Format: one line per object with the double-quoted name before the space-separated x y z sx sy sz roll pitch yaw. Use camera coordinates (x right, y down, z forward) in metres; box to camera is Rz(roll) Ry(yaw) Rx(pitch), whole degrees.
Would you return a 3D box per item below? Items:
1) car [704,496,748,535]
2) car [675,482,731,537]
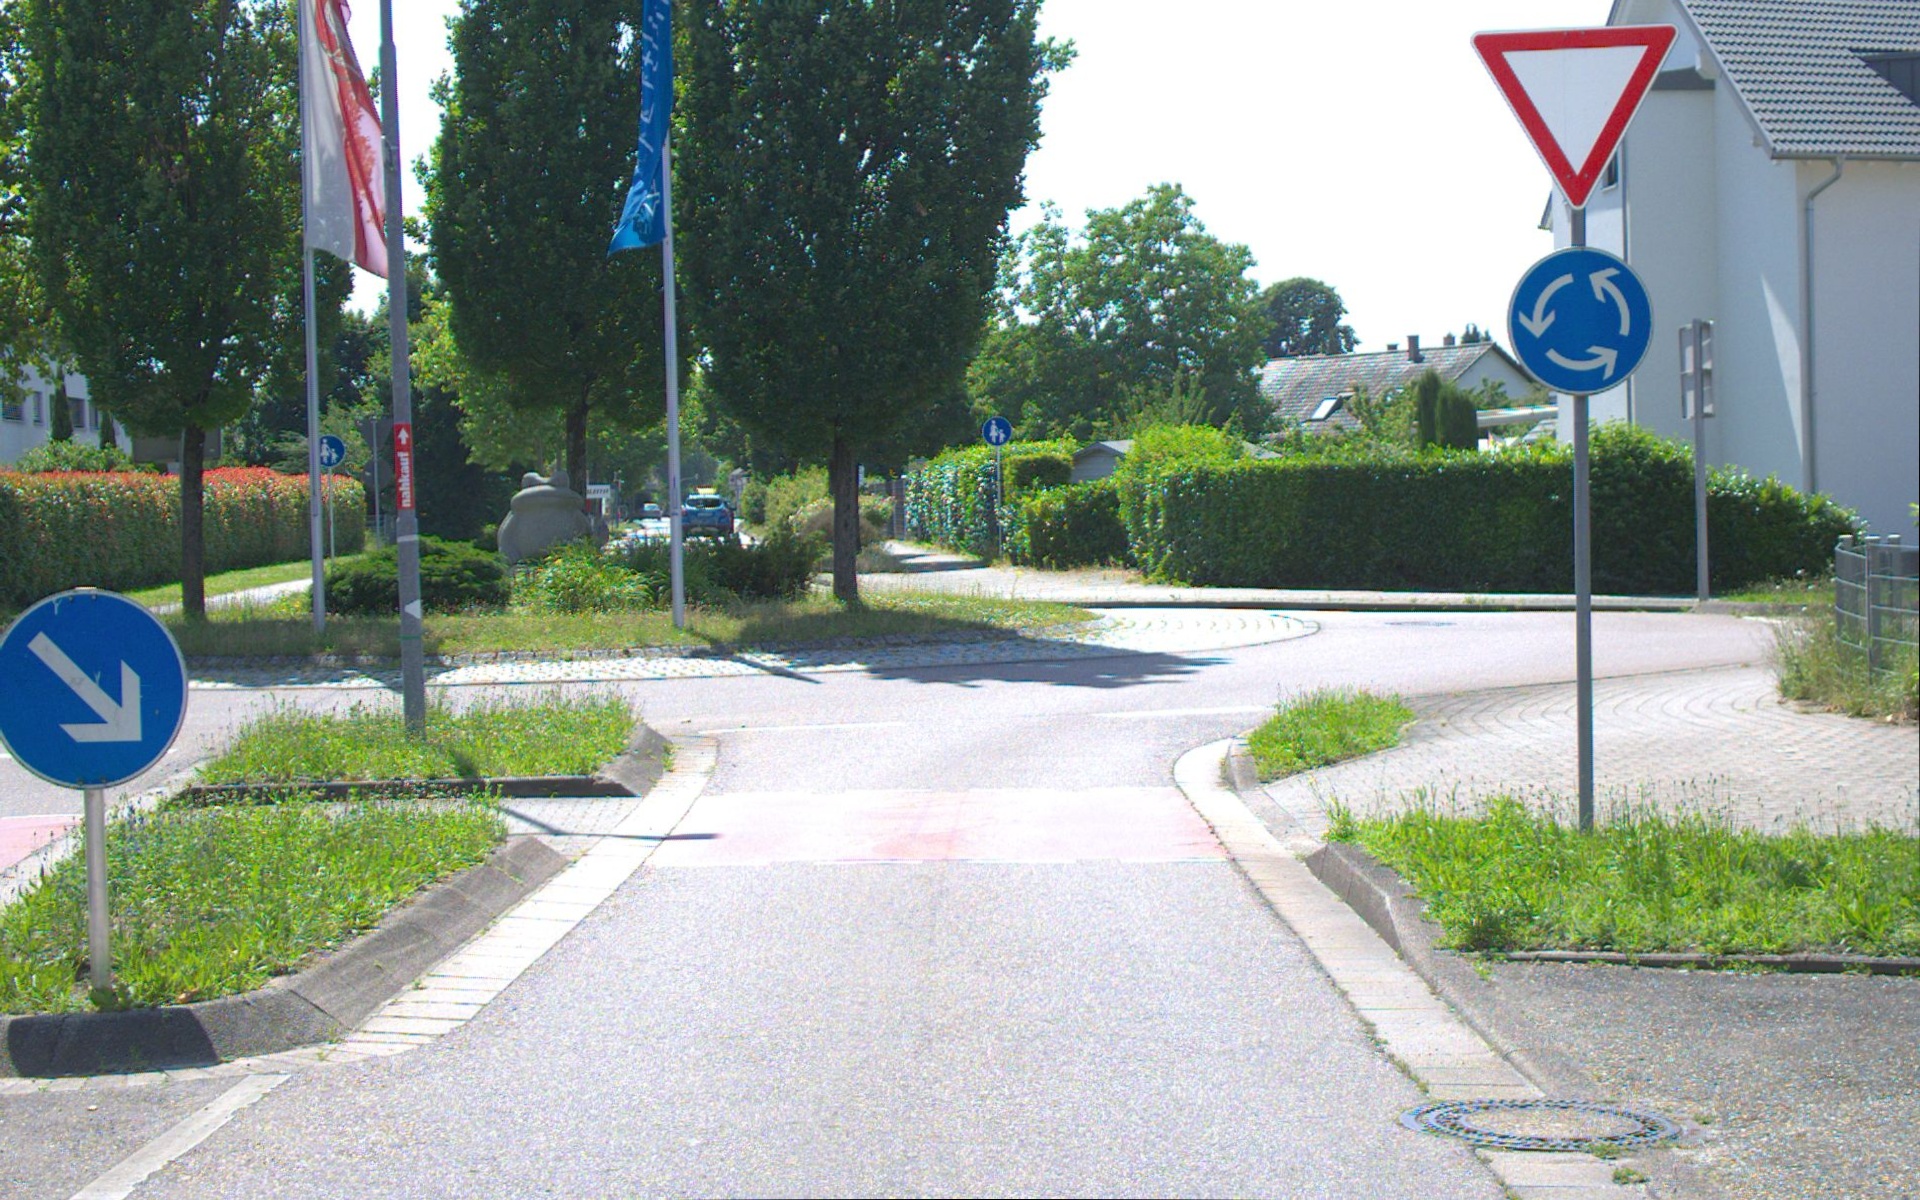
"car" -10.786 -3.893 158.639 1.993 1.764 4.001 0 1 -3
"car" -8.898 -3.129 118.979 1.923 1.879 4.001 0 1 -4
